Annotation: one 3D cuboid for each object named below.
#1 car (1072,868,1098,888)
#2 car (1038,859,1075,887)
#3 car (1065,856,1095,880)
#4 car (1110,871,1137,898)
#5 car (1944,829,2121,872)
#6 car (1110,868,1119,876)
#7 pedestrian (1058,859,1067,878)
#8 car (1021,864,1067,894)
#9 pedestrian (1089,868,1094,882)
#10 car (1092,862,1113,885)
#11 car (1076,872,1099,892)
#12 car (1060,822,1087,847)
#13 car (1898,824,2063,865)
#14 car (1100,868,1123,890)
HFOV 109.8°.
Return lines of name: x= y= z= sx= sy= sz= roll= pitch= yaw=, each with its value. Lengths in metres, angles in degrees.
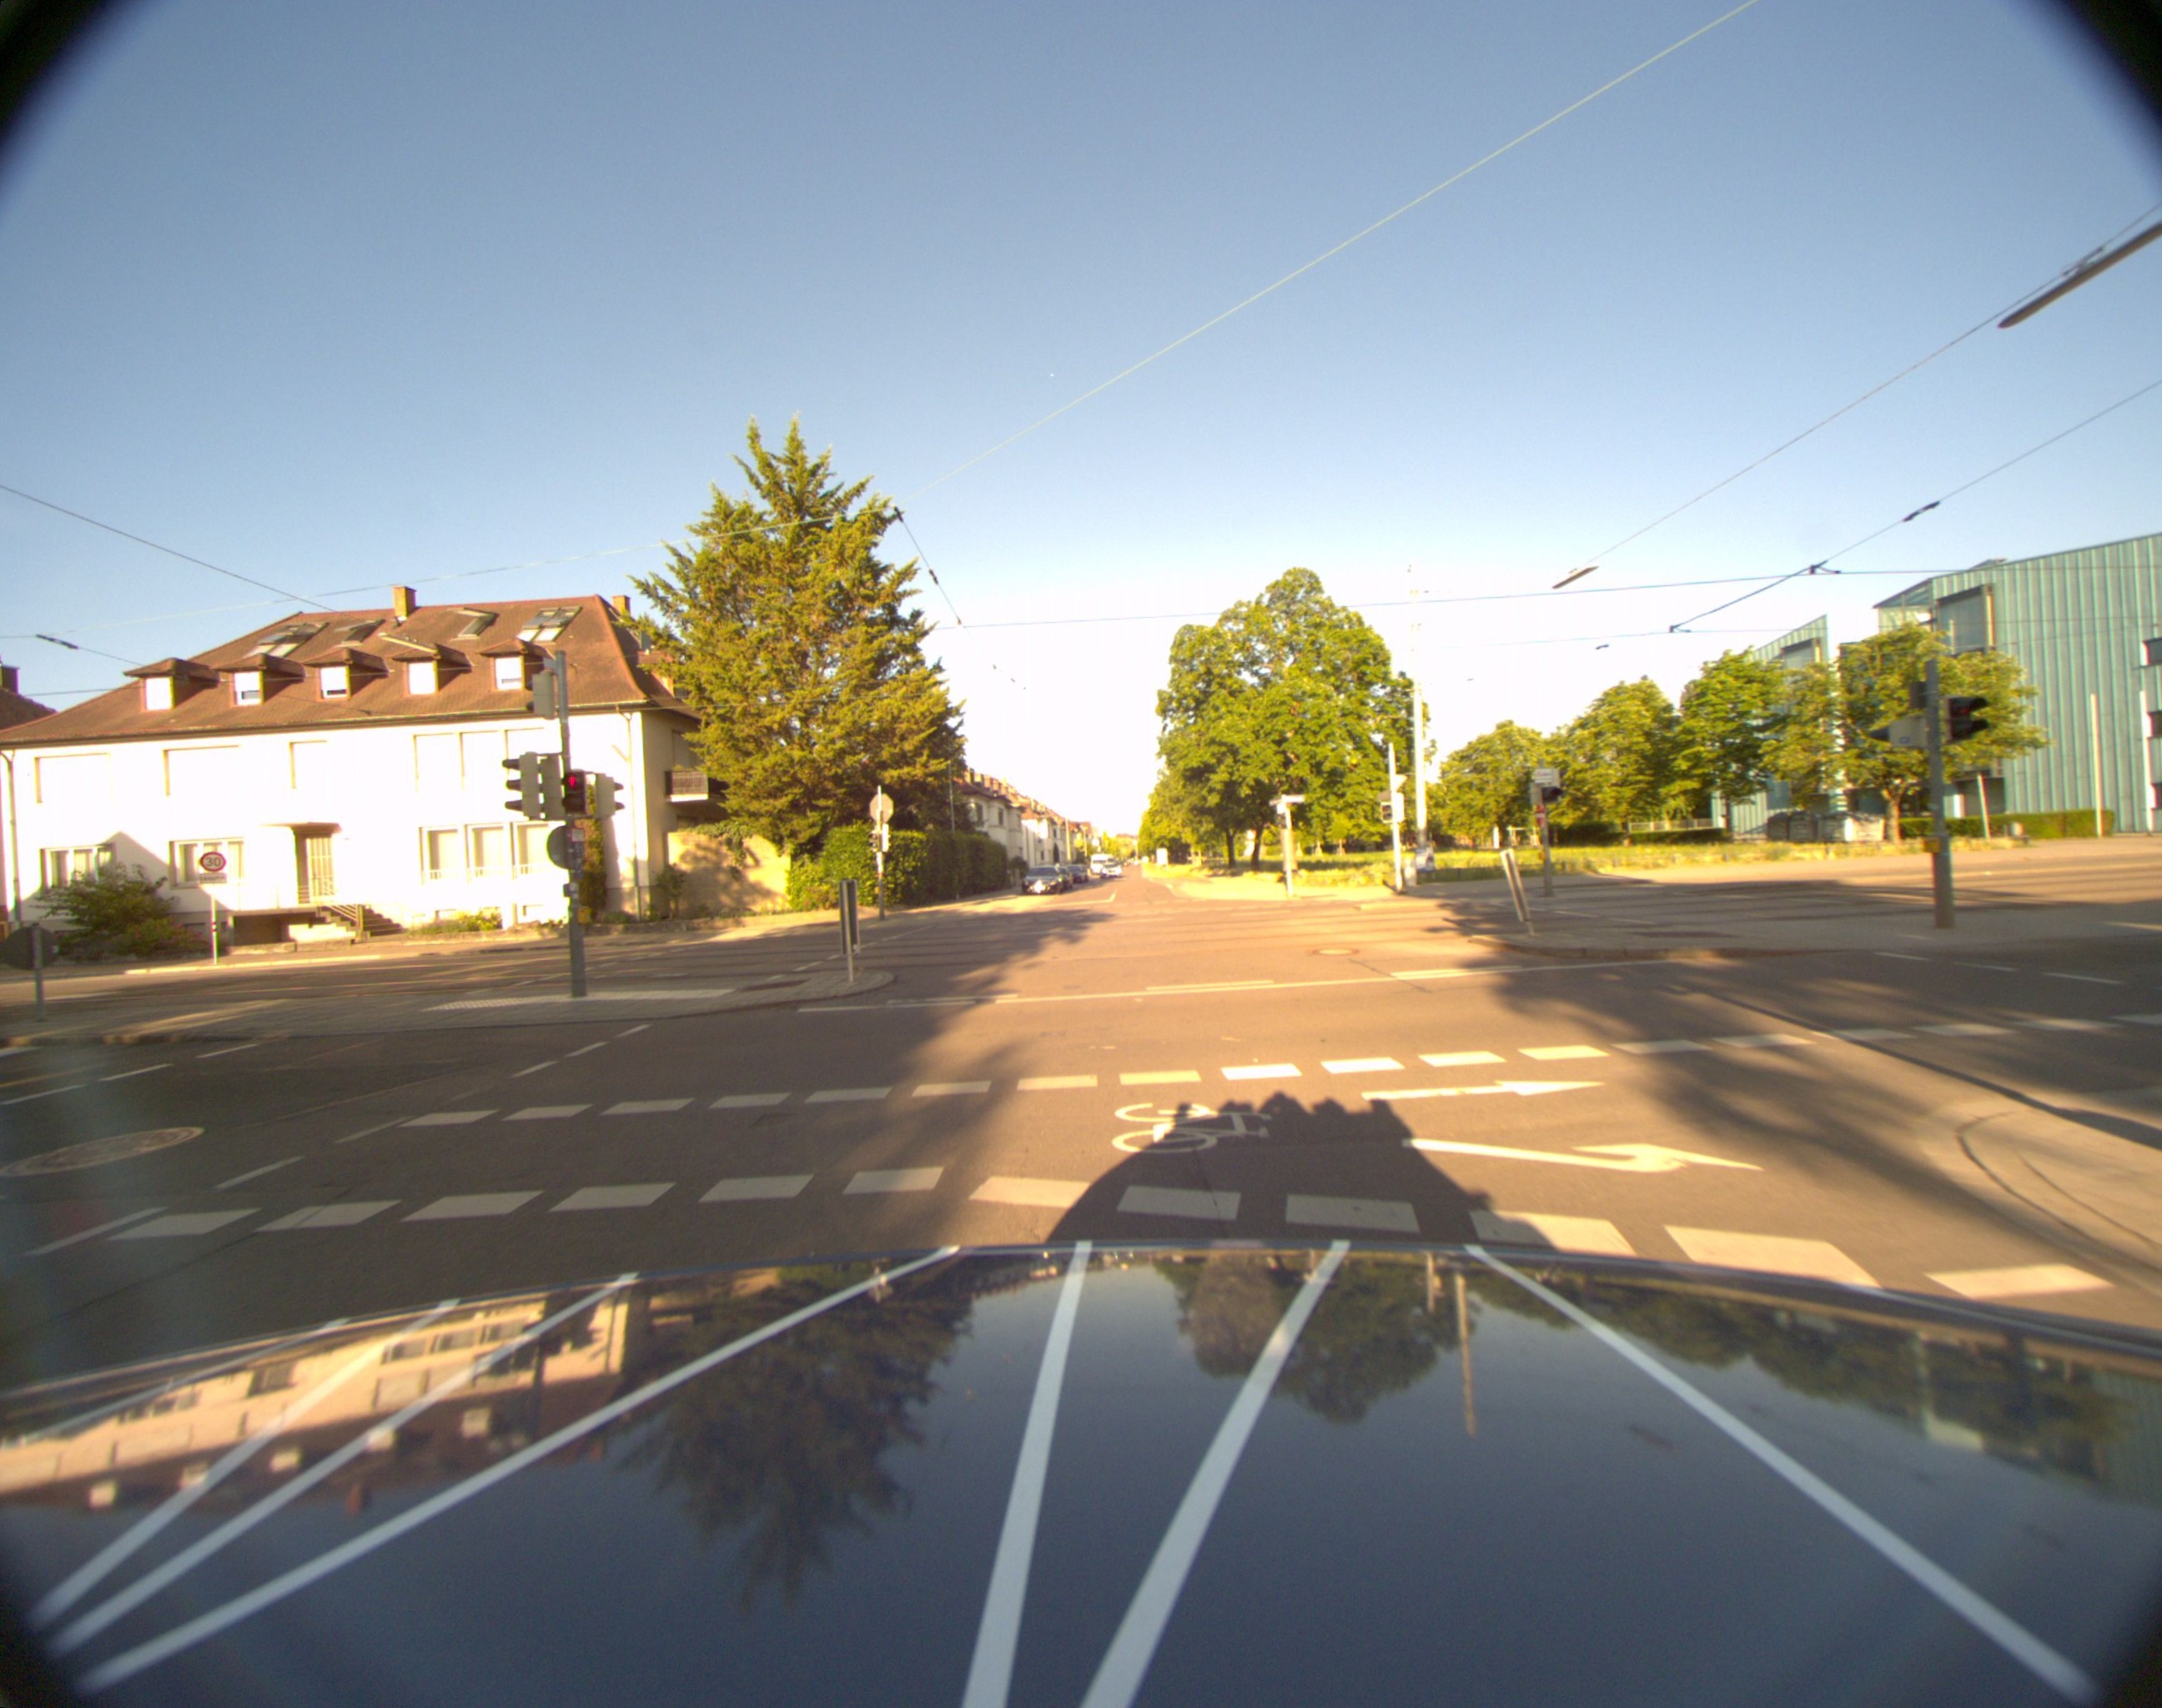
car: x=0.380 y=1.984 z=64.136 sx=1.679 sy=1.525 sz=3.473 roll=-5 pitch=-2 yaw=6
car: x=-1.454 y=1.166 z=47.199 sx=1.783 sy=1.468 sz=4.002 roll=-5 pitch=-1 yaw=4
car: x=-0.044 y=1.086 z=57.136 sx=1.795 sy=1.586 sz=4.079 roll=-5 pitch=-2 yaw=4
car: x=3.580 y=2.568 z=64.646 sx=1.998 sy=2.002 sz=4.000 roll=-5 pitch=0 yaw=1
car: x=42.424 y=-0.158 z=33.964 sx=5.219 sy=1.662 sz=2.000 roll=-2 pitch=0 yaw=2
car: x=6.767 y=3.537 z=152.784 sx=1.681 sy=1.542 sz=3.844 roll=-2 pitch=-1 yaw=3
pedestrian: x=-1.861 y=1.474 z=76.324 sx=0.587 sy=1.835 sz=0.824 roll=-5 pitch=0 yaw=6
car: x=-1.894 y=1.289 z=40.529 sx=2.008 sy=1.489 sz=4.917 roll=-1 pitch=-1 yaw=2
pedestrian: x=1.434 y=2.910 z=105.521 sx=0.531 sy=1.787 sz=0.589 roll=-5 pitch=0 yaw=3
car: x=2.773 y=2.414 z=95.770 sx=2.131 sy=2.461 sz=5.726 roll=-5 pitch=0 yaw=4
car: x=0.609 y=2.494 z=69.125 sx=1.788 sy=1.497 sz=4.001 roll=-5 pitch=0 yaw=3
car: x=-0.583 y=-1.560 z=61.735 sx=1.998 sy=1.751 sz=4.000 roll=-5 pitch=0 yaw=1
car: x=42.525 y=-0.415 z=36.037 sx=5.218 sy=1.661 sz=1.968 roll=-3 pitch=-1 yaw=3
car: x=2.970 y=2.397 z=73.370 sx=1.998 sy=1.775 sz=4.001 roll=-5 pitch=0 yaw=4
